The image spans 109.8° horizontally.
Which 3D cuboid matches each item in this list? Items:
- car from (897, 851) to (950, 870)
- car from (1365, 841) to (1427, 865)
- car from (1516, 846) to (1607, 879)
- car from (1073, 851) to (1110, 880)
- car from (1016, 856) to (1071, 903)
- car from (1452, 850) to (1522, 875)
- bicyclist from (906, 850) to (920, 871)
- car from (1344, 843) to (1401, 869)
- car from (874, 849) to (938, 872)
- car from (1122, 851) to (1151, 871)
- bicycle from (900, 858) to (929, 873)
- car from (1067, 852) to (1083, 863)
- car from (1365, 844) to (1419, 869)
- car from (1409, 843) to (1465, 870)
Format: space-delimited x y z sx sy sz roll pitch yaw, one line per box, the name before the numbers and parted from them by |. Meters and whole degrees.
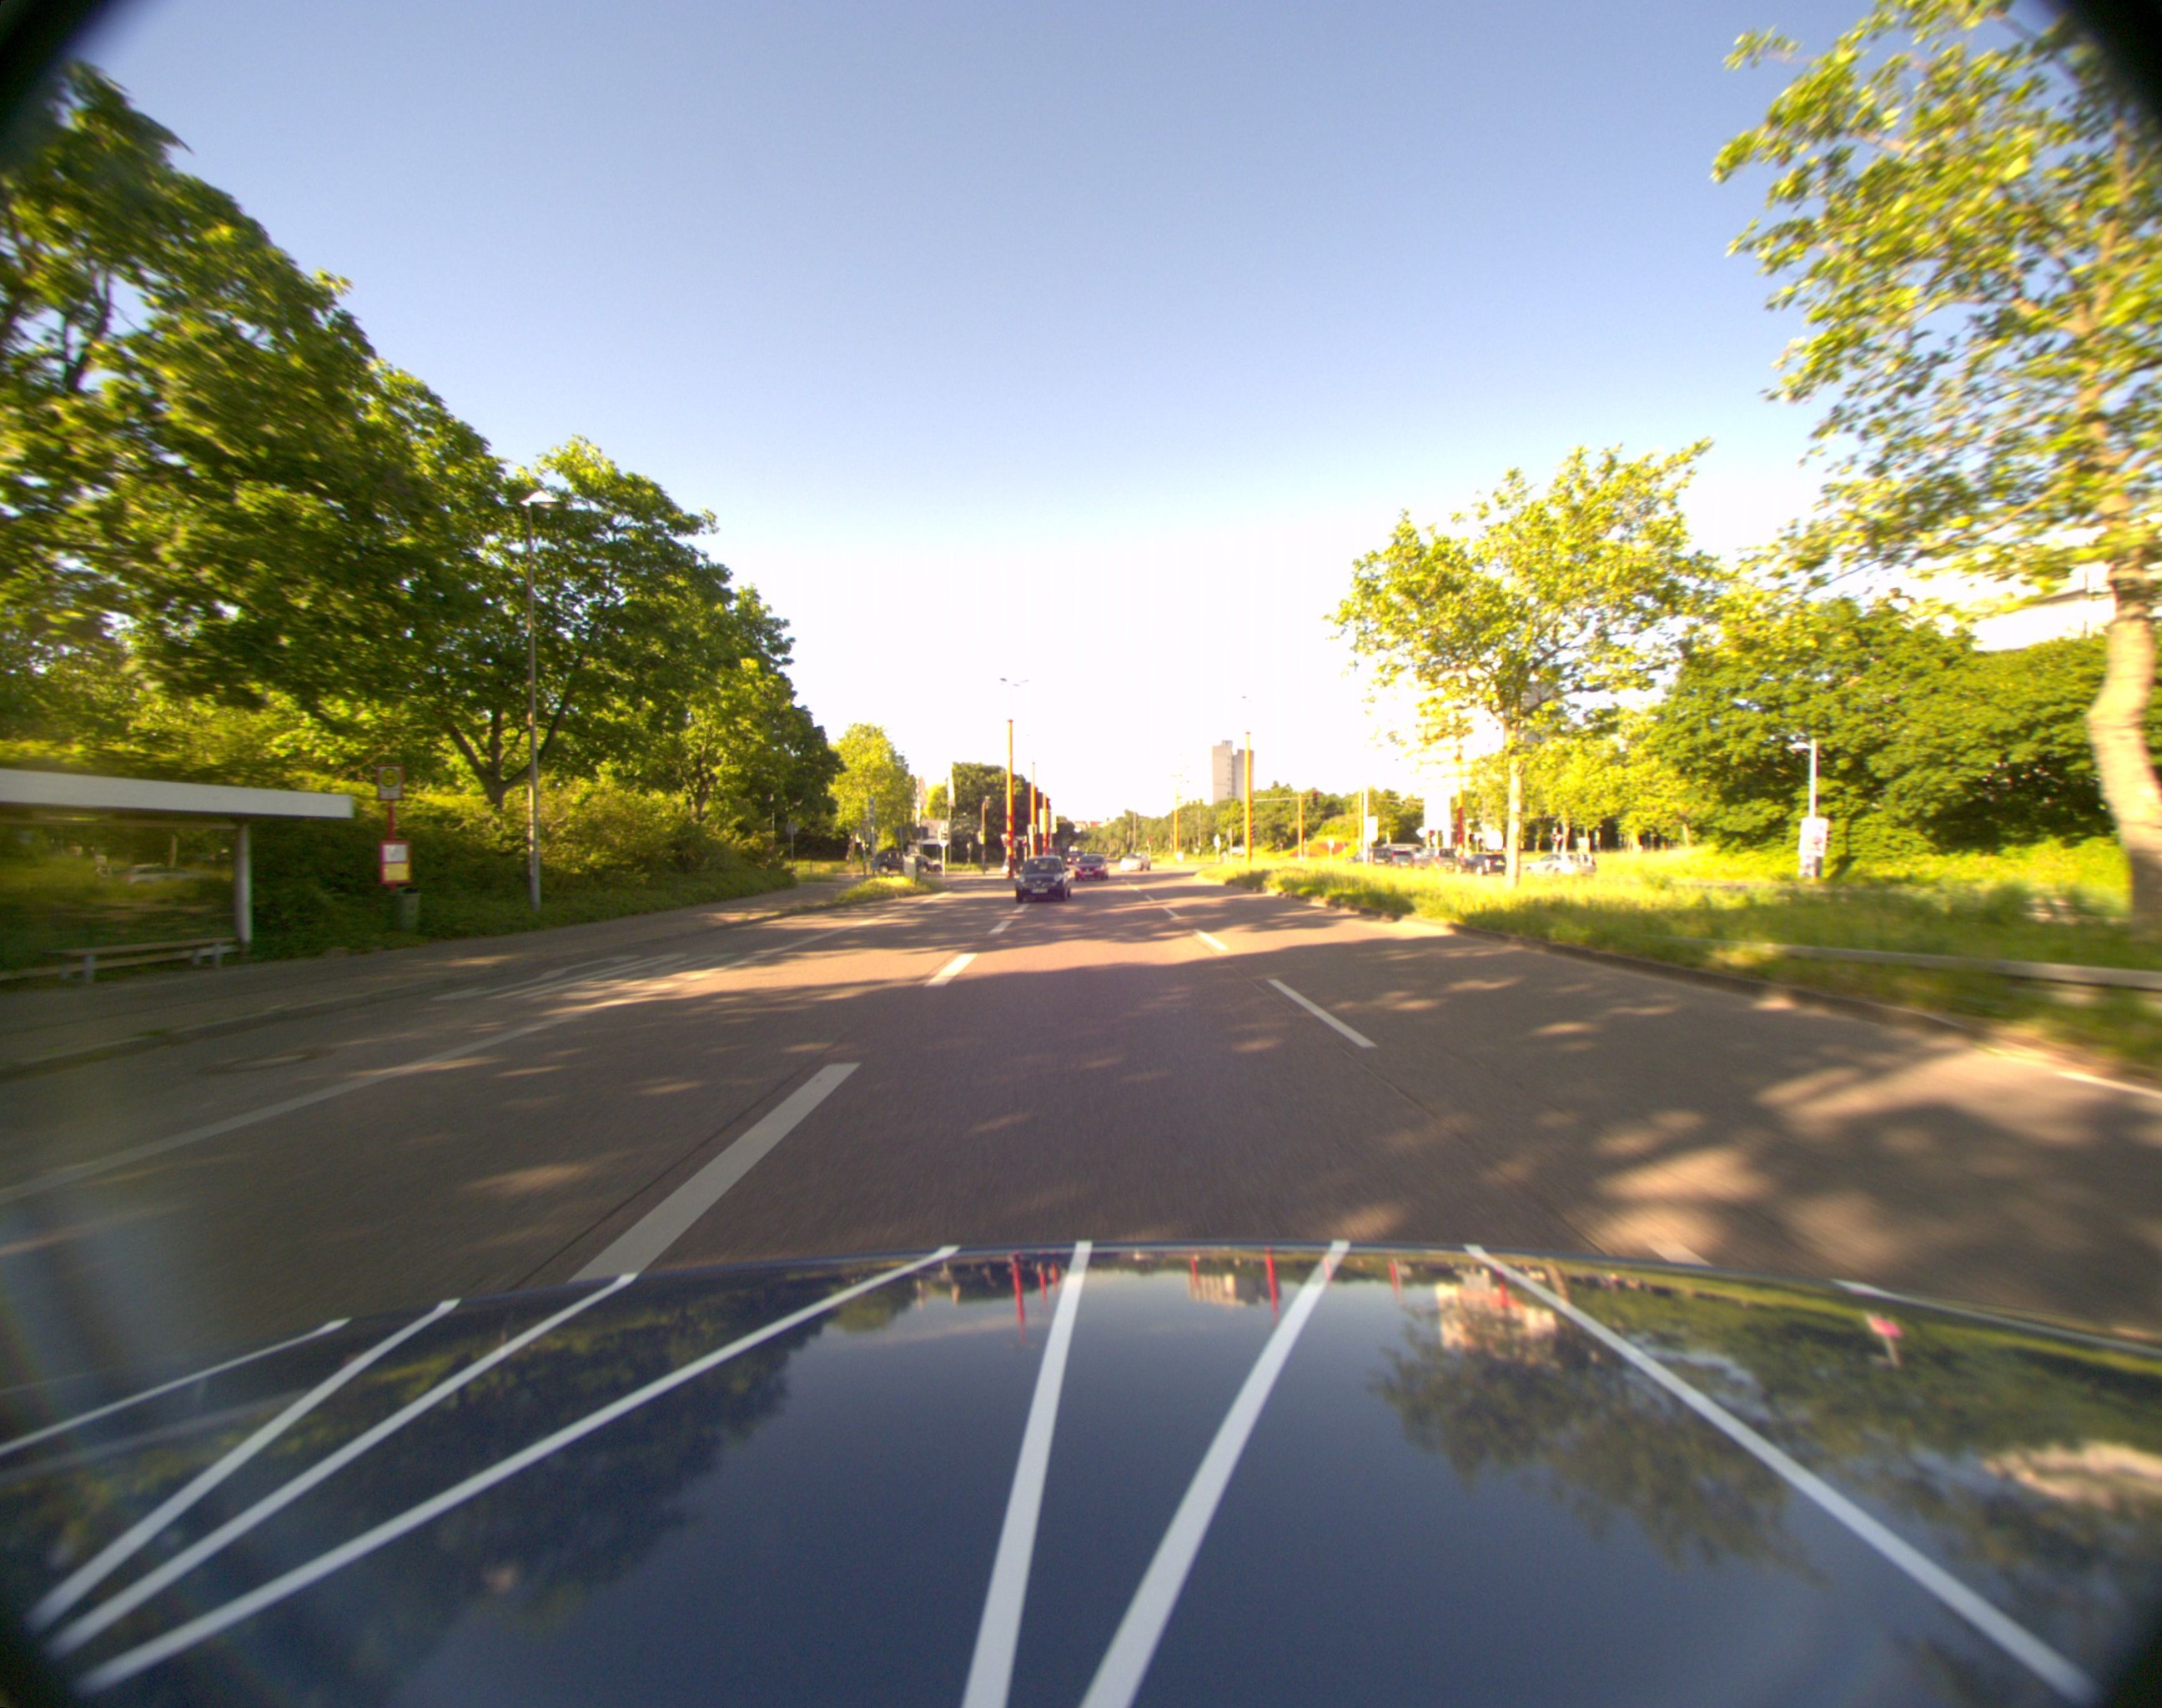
car | -13.048 0.536 62.989 4.094 1.529 1.770 0 0 -18
car | 31.459 -0.088 75.974 5.647 2.191 2.045 -1 0 24
car | 25.448 0.410 40.436 1.903 1.601 4.565 1 0 0
car | 0.676 0.628 43.761 1.771 1.549 4.728 0 0 5
car | -1.233 0.820 26.516 1.739 1.474 4.622 0 0 -1
car | 25.267 0.495 47.456 1.903 1.466 4.565 1 0 0
bicyclist | -12.282 0.479 55.637 0.981 1.548 0.761 0 1 -10
car | 18.567 0.096 48.586 1.903 1.556 4.565 1 0 0
car | -13.558 0.457 58.844 4.657 1.716 1.905 0 0 -17
car | 4.533 0.541 61.814 1.912 1.549 4.730 0 0 10
bicycle | -12.203 0.821 55.657 2.015 1.085 0.765 0 1 -10
car | -0.844 0.493 101.916 1.999 1.486 4.288 0 0 -3
car | 21.674 0.157 53.113 1.903 1.601 4.565 1 0 0
car | 25.312 0.168 54.241 1.903 1.765 4.446 1 0 0
